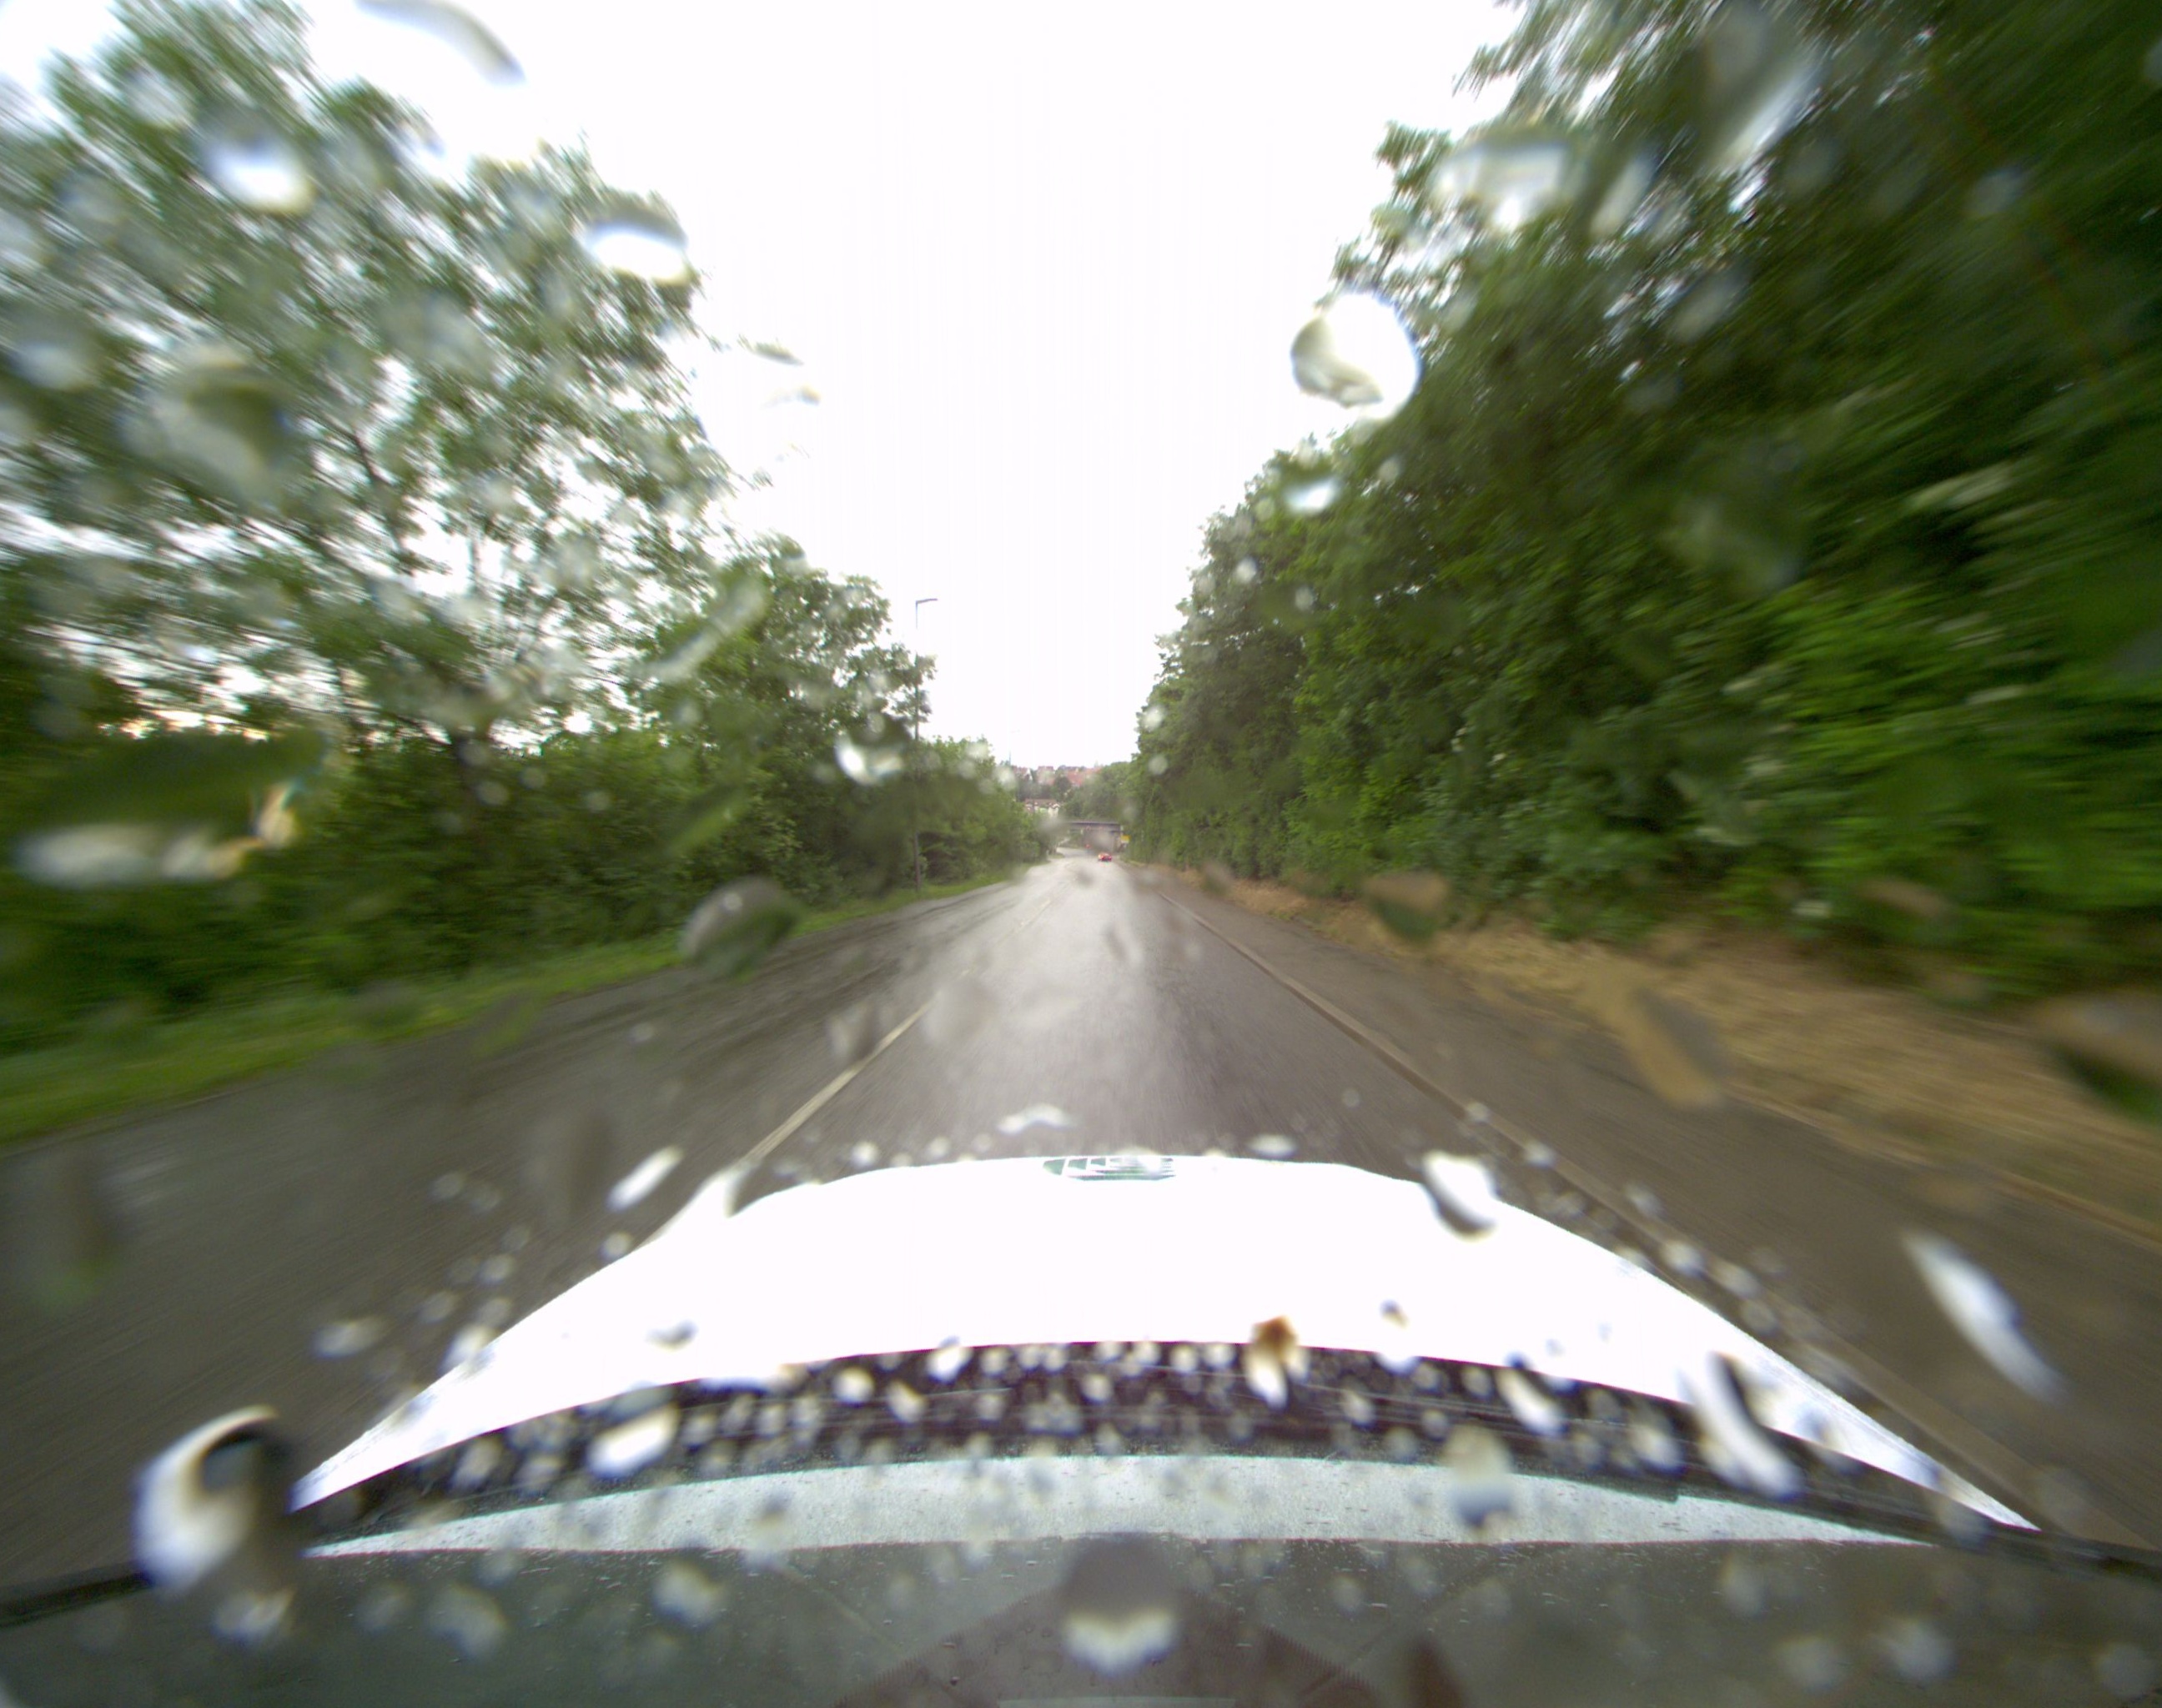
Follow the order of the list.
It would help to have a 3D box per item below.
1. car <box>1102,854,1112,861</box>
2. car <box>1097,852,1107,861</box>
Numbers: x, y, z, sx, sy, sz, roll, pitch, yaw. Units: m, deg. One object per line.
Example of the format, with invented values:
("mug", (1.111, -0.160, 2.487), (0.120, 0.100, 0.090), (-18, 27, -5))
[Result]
("car", (4.745, 0.622, 149.700), (1.761, 1.380, 4.002), (-1, 0, 2))
("car", (4.028, 0.473, 156.382), (1.761, 1.563, 4.002), (-1, 0, 2))
